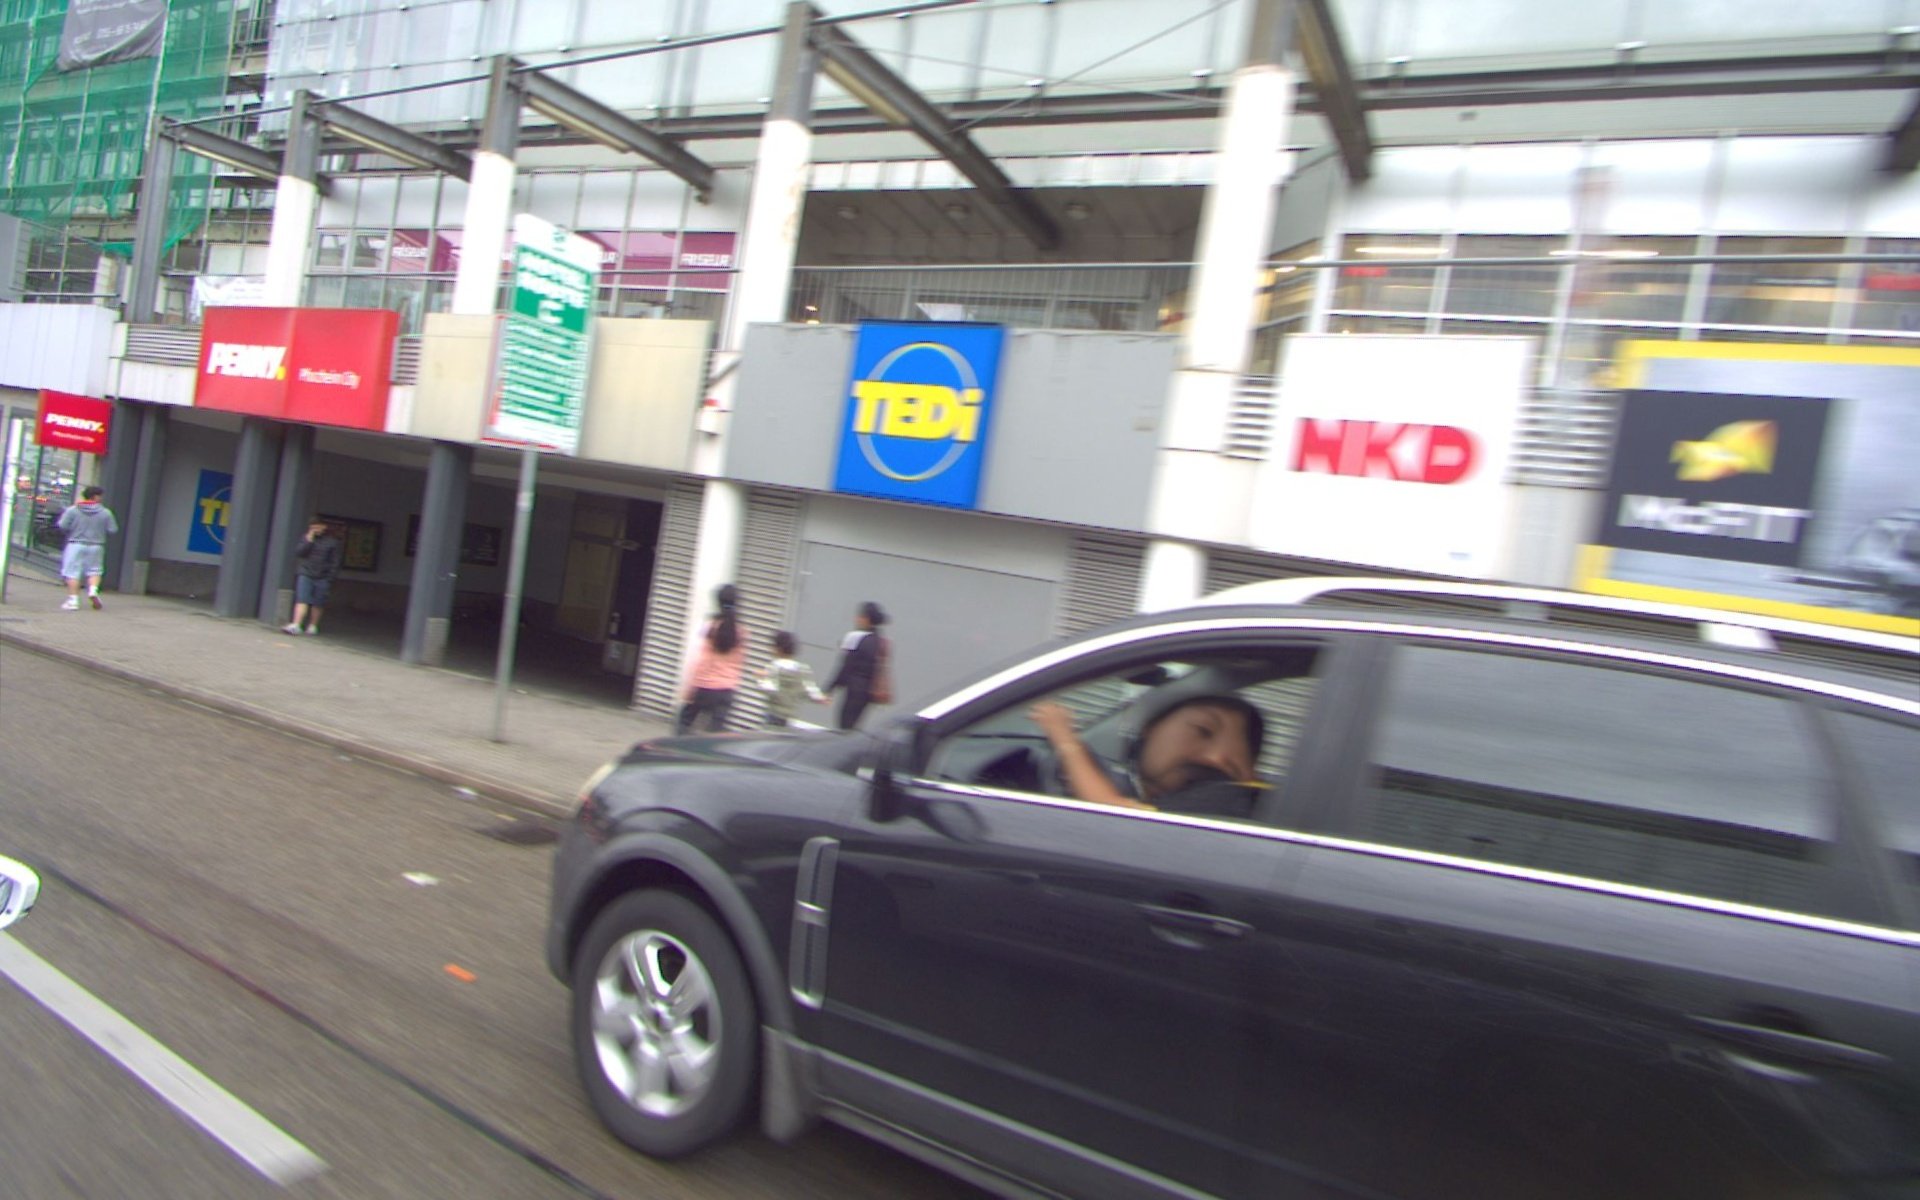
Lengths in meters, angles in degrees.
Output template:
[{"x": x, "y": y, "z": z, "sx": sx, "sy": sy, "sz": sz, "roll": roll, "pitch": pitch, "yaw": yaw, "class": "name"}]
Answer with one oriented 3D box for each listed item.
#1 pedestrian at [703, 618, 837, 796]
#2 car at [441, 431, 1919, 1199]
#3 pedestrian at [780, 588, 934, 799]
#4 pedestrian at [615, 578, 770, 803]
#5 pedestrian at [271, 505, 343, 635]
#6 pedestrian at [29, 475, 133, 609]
[{"x": -1.434, "y": 0.794, "z": 7.627, "sx": 0.545, "sy": 1.223, "sz": 0.690, "roll": 8, "pitch": 1, "yaw": 37, "class": "pedestrian"}, {"x": 0.820, "y": 0.721, "z": 2.804, "sx": 4.228, "sy": 1.807, "sz": 1.910, "roll": 8, "pitch": 0, "yaw": 30, "class": "car"}, {"x": -0.798, "y": 0.711, "z": 7.850, "sx": 0.693, "sy": 1.485, "sz": 0.771, "roll": 8, "pitch": 2, "yaw": 38, "class": "pedestrian"}, {"x": -1.899, "y": 0.620, "z": 7.168, "sx": 0.588, "sy": 1.457, "sz": 0.745, "roll": 8, "pitch": 3, "yaw": 37, "class": "pedestrian"}, {"x": -9.279, "y": -0.433, "z": 14.326, "sx": 0.663, "sy": 1.737, "sz": 0.811, "roll": 6, "pitch": 1, "yaw": -30, "class": "pedestrian"}, {"x": -12.350, "y": -0.809, "z": 14.132, "sx": 0.816, "sy": 1.744, "sz": 0.835, "roll": 8, "pitch": 2, "yaw": 37, "class": "pedestrian"}]
